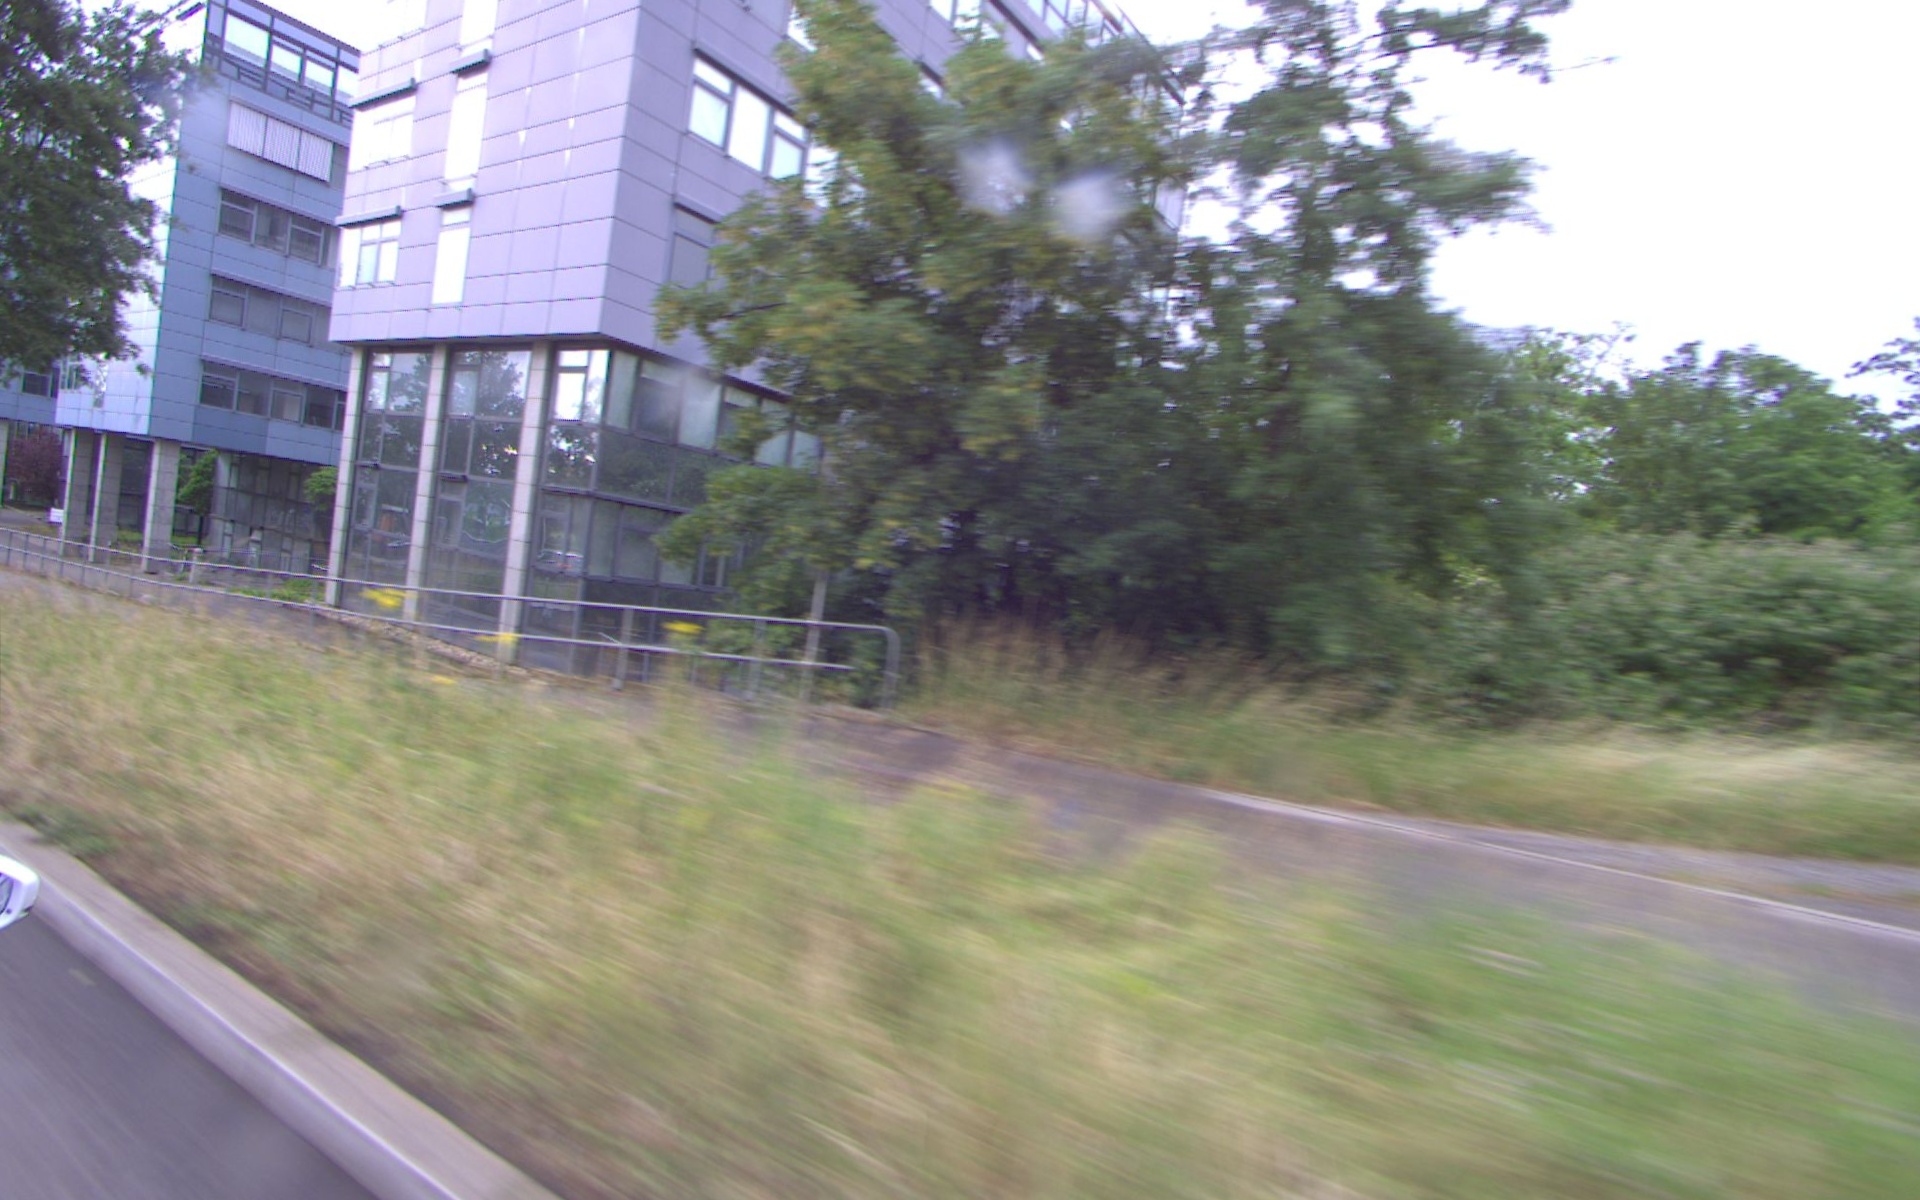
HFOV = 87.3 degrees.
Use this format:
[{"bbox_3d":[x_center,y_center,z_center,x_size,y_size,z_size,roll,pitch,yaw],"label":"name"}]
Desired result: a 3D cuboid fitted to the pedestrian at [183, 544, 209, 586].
[{"bbox_3d":[-27.467,-1.257,36.175,0.450,1.425,0.503,6,0,34],"label":"pedestrian"}]
